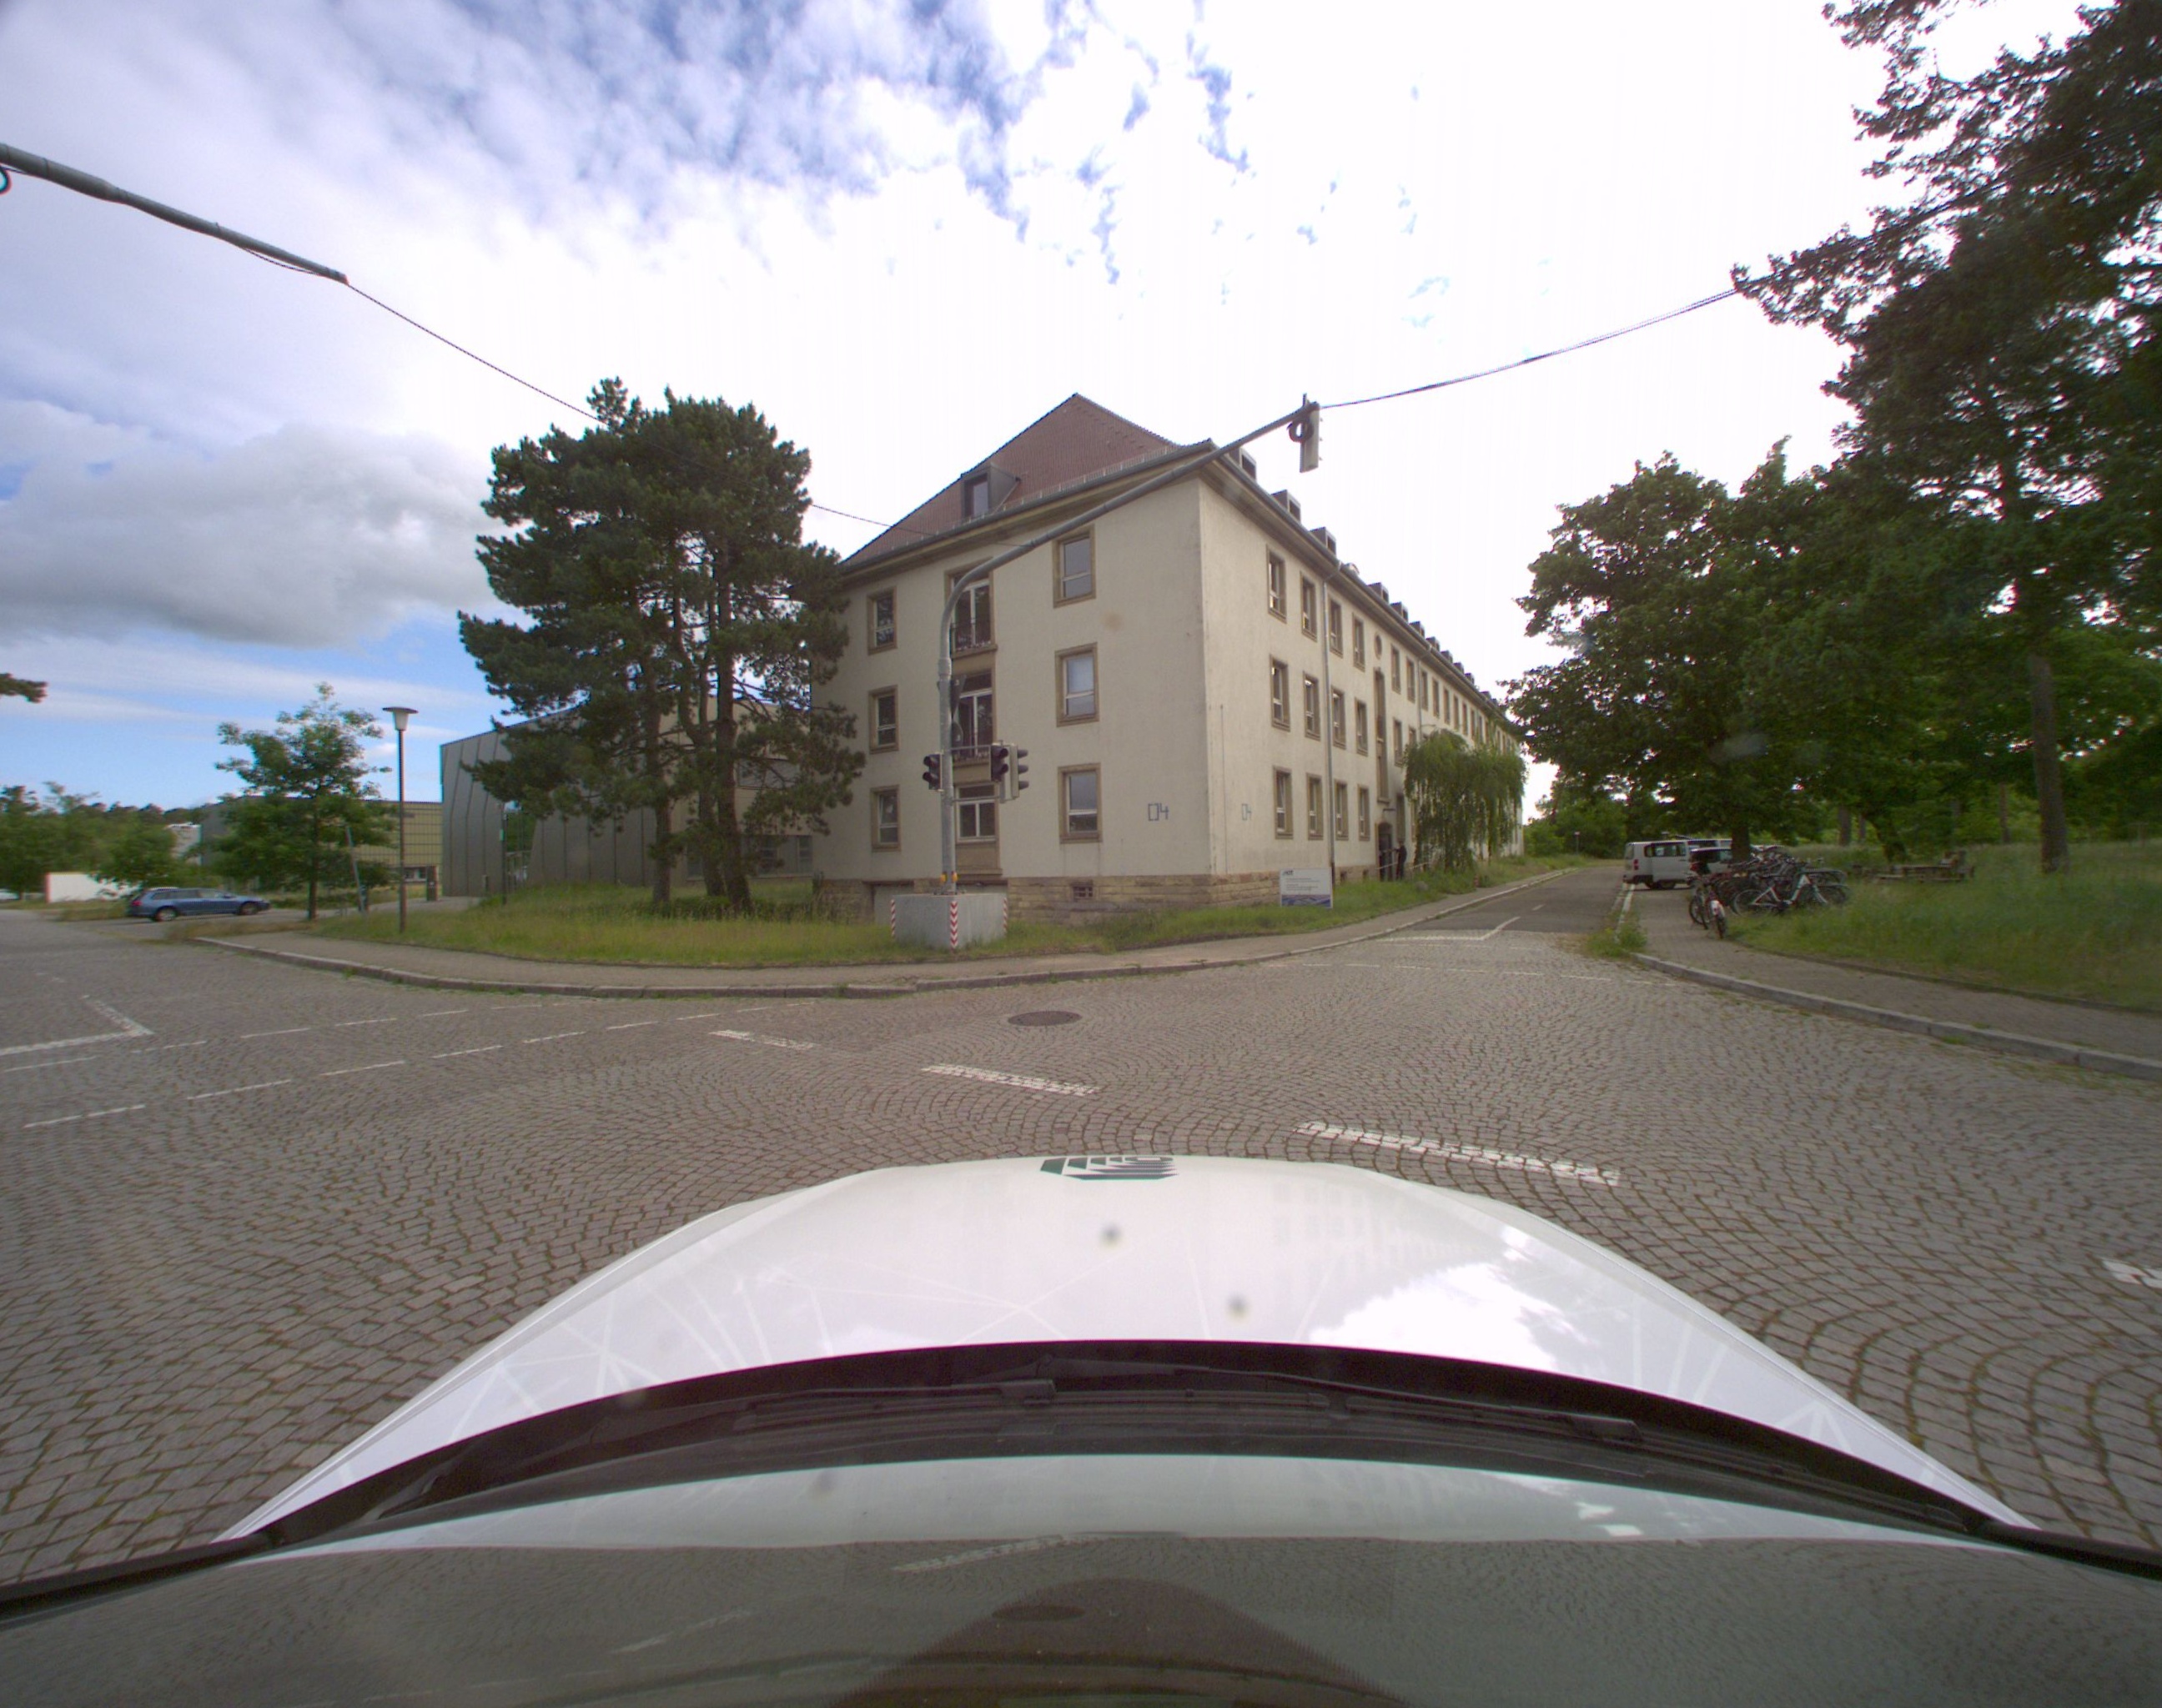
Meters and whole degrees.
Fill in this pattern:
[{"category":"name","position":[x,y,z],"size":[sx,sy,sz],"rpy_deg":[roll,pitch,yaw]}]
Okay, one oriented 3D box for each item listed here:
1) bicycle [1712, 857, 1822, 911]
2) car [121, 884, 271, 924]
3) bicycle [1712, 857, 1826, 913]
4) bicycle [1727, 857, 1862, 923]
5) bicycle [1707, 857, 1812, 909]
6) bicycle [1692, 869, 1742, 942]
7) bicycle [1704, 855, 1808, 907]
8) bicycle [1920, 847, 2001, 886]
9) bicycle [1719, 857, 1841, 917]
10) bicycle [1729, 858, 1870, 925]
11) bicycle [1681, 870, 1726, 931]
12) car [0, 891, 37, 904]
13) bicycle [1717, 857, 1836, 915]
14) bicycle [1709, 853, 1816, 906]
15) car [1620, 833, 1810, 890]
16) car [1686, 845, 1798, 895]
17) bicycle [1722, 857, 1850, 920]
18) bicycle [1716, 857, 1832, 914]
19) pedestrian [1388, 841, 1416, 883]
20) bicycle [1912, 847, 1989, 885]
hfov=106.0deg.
[{"category":"bicycle","position":[16.530,0.707,19.701],"size":[1.963,1.248,0.628],"rpy_deg":[-1,-1,34]},{"category":"car","position":[-41.970,2.333,38.722],"size":[1.909,1.462,4.525],"rpy_deg":[-2,1,33]},{"category":"bicycle","position":[16.114,0.706,19.139],"size":[1.963,1.248,0.628],"rpy_deg":[-1,-1,34]},{"category":"bicycle","position":[14.255,0.700,16.352],"size":[1.963,1.248,0.628],"rpy_deg":[-1,-1,34]},{"category":"bicycle","position":[17.070,0.709,20.561],"size":[1.963,1.248,0.628],"rpy_deg":[-1,-1,34]},{"category":"bicycle","position":[10.815,0.835,13.851],"size":[0.616,1.113,2.001],"rpy_deg":[-1,-1,38]},{"category":"bicycle","position":[17.443,0.710,21.109],"size":[1.963,1.248,0.628],"rpy_deg":[-4,-2,33]},{"category":"bicycle","position":[25.921,0.380,24.033],"size":[1.534,1.125,0.403],"rpy_deg":[-2,-1,37]},{"category":"bicycle","position":[15.256,0.703,17.845],"size":[1.963,1.248,0.628],"rpy_deg":[-1,-1,34]},{"category":"bicycle","position":[13.898,0.699,15.829],"size":[1.963,1.248,0.628],"rpy_deg":[-1,-1,34]},{"category":"bicycle","position":[11.870,0.854,15.513],"size":[0.616,1.082,1.688],"rpy_deg":[-1,-1,39]},{"category":"car","position":[-139.304,5.667,105.816],"size":[1.974,1.549,4.364],"rpy_deg":[-2,-1,36]},{"category":"bicycle","position":[15.621,0.704,18.367],"size":[1.963,1.248,0.628],"rpy_deg":[-1,-1,34]},{"category":"bicycle","position":[16.802,0.614,20.142],"size":[1.963,1.248,0.628],"rpy_deg":[-1,-1,34]},{"category":"car","position":[23.946,0.317,31.036],"size":[5.259,1.916,2.161],"rpy_deg":[-2,-1,21]},{"category":"car","position":[22.465,0.559,27.797],"size":[2.819,1.558,1.481],"rpy_deg":[-3,0,35]},{"category":"bicycle","position":[14.769,0.702,17.130],"size":[1.963,1.248,0.628],"rpy_deg":[-1,-1,34]},{"category":"bicycle","position":[15.931,0.705,18.795],"size":[1.963,1.248,0.628],"rpy_deg":[-1,-1,34]},{"category":"pedestrian","position":[13.957,0.353,35.427],"size":[0.829,1.781,0.947],"rpy_deg":[-2,-1,40]},{"category":"bicycle","position":[26.683,0.379,25.012],"size":[1.534,1.125,0.403],"rpy_deg":[-2,-1,37]}]
